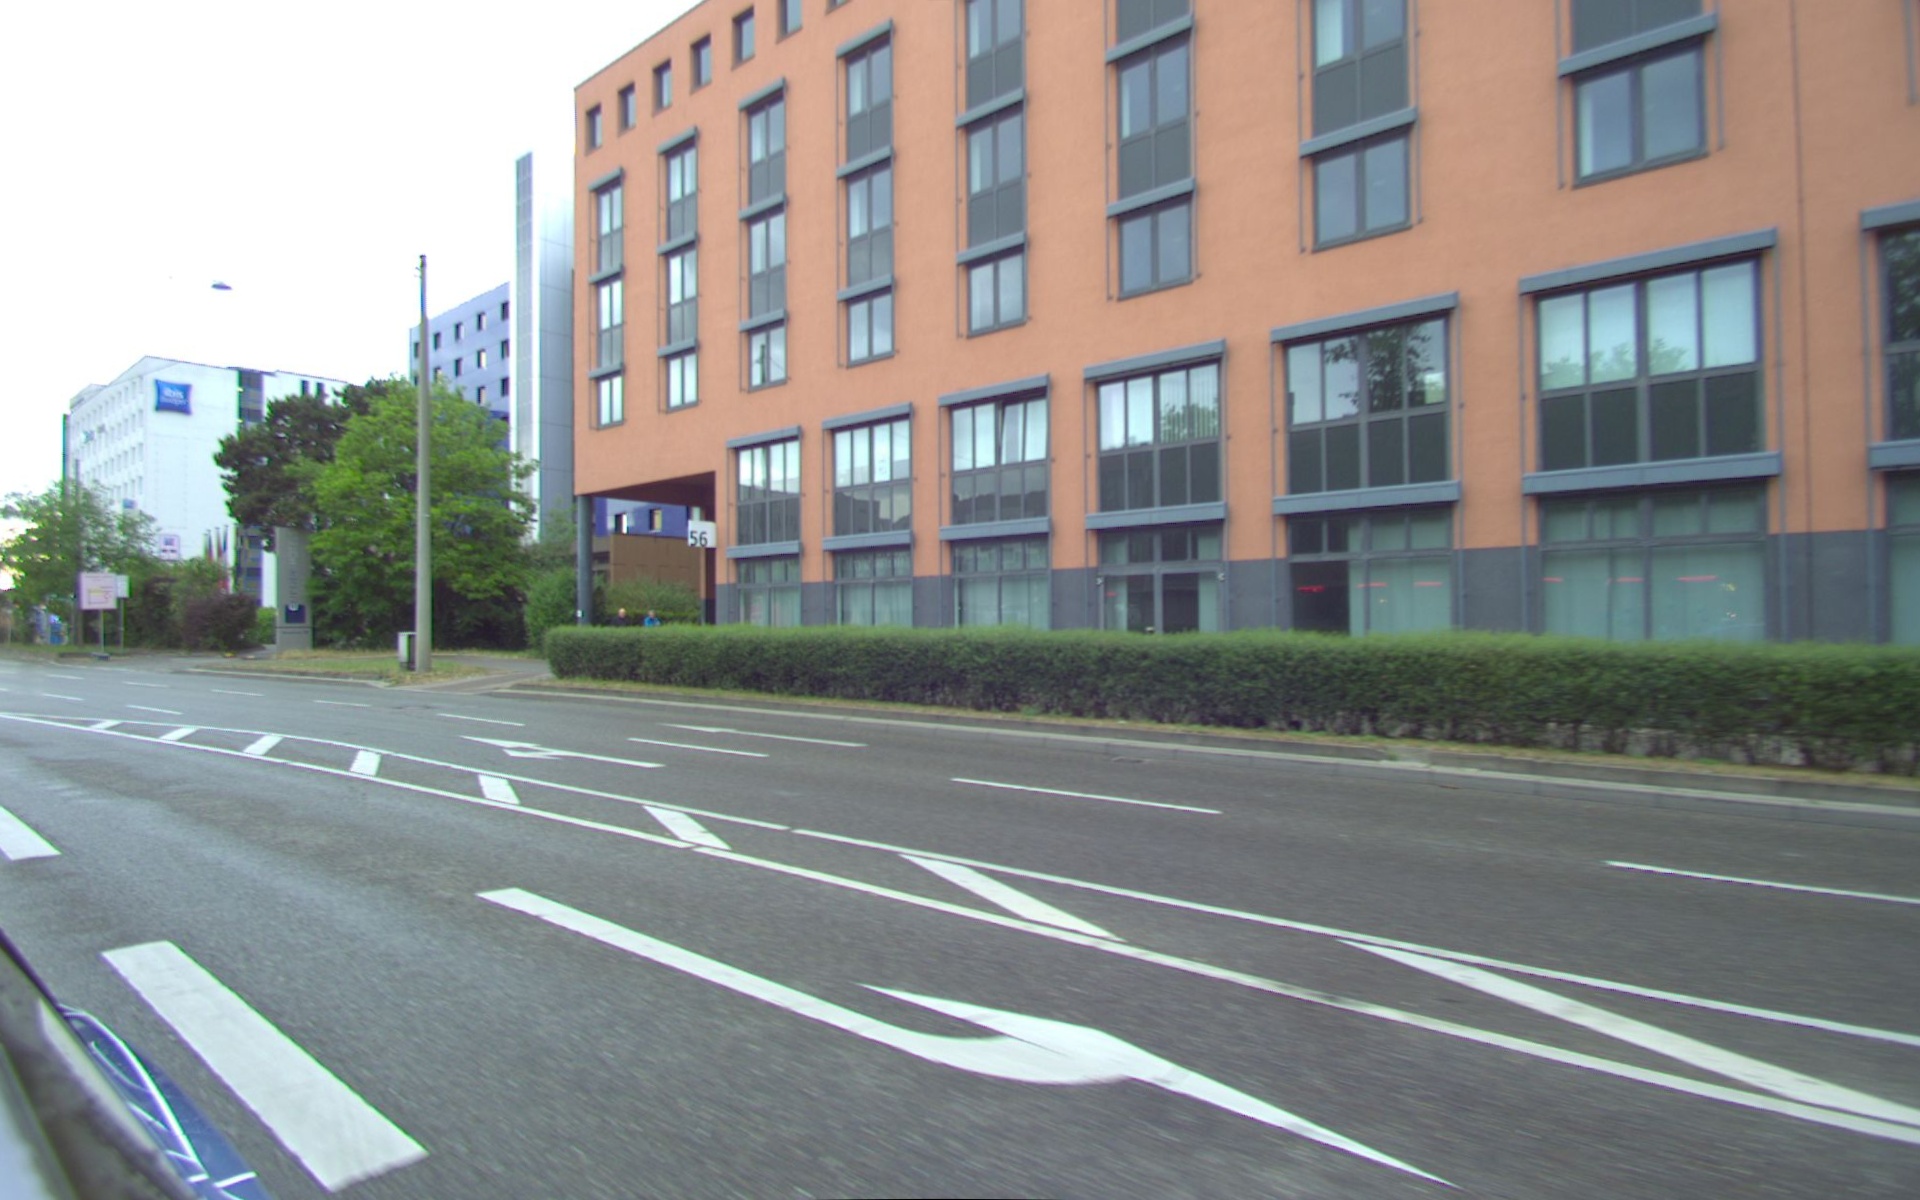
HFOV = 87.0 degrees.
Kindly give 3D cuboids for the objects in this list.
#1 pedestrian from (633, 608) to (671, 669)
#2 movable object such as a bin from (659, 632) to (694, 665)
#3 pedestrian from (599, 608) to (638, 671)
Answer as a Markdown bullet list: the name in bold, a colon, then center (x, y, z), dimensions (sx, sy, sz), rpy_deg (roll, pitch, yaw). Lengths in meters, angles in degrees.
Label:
- **pedestrian**: center (-9.506, 1.172, 31.258), dimensions (0.885, 1.855, 0.738), rpy_deg (-2, -1, 40)
- **movable object such as a bin**: center (-11.167, 1.884, 39.854), dimensions (1.208, 1.257, 0.773), rpy_deg (-1, -2, 36)
- **pedestrian**: center (-10.292, 1.169, 30.535), dimensions (0.885, 1.855, 0.738), rpy_deg (-2, -1, 40)
